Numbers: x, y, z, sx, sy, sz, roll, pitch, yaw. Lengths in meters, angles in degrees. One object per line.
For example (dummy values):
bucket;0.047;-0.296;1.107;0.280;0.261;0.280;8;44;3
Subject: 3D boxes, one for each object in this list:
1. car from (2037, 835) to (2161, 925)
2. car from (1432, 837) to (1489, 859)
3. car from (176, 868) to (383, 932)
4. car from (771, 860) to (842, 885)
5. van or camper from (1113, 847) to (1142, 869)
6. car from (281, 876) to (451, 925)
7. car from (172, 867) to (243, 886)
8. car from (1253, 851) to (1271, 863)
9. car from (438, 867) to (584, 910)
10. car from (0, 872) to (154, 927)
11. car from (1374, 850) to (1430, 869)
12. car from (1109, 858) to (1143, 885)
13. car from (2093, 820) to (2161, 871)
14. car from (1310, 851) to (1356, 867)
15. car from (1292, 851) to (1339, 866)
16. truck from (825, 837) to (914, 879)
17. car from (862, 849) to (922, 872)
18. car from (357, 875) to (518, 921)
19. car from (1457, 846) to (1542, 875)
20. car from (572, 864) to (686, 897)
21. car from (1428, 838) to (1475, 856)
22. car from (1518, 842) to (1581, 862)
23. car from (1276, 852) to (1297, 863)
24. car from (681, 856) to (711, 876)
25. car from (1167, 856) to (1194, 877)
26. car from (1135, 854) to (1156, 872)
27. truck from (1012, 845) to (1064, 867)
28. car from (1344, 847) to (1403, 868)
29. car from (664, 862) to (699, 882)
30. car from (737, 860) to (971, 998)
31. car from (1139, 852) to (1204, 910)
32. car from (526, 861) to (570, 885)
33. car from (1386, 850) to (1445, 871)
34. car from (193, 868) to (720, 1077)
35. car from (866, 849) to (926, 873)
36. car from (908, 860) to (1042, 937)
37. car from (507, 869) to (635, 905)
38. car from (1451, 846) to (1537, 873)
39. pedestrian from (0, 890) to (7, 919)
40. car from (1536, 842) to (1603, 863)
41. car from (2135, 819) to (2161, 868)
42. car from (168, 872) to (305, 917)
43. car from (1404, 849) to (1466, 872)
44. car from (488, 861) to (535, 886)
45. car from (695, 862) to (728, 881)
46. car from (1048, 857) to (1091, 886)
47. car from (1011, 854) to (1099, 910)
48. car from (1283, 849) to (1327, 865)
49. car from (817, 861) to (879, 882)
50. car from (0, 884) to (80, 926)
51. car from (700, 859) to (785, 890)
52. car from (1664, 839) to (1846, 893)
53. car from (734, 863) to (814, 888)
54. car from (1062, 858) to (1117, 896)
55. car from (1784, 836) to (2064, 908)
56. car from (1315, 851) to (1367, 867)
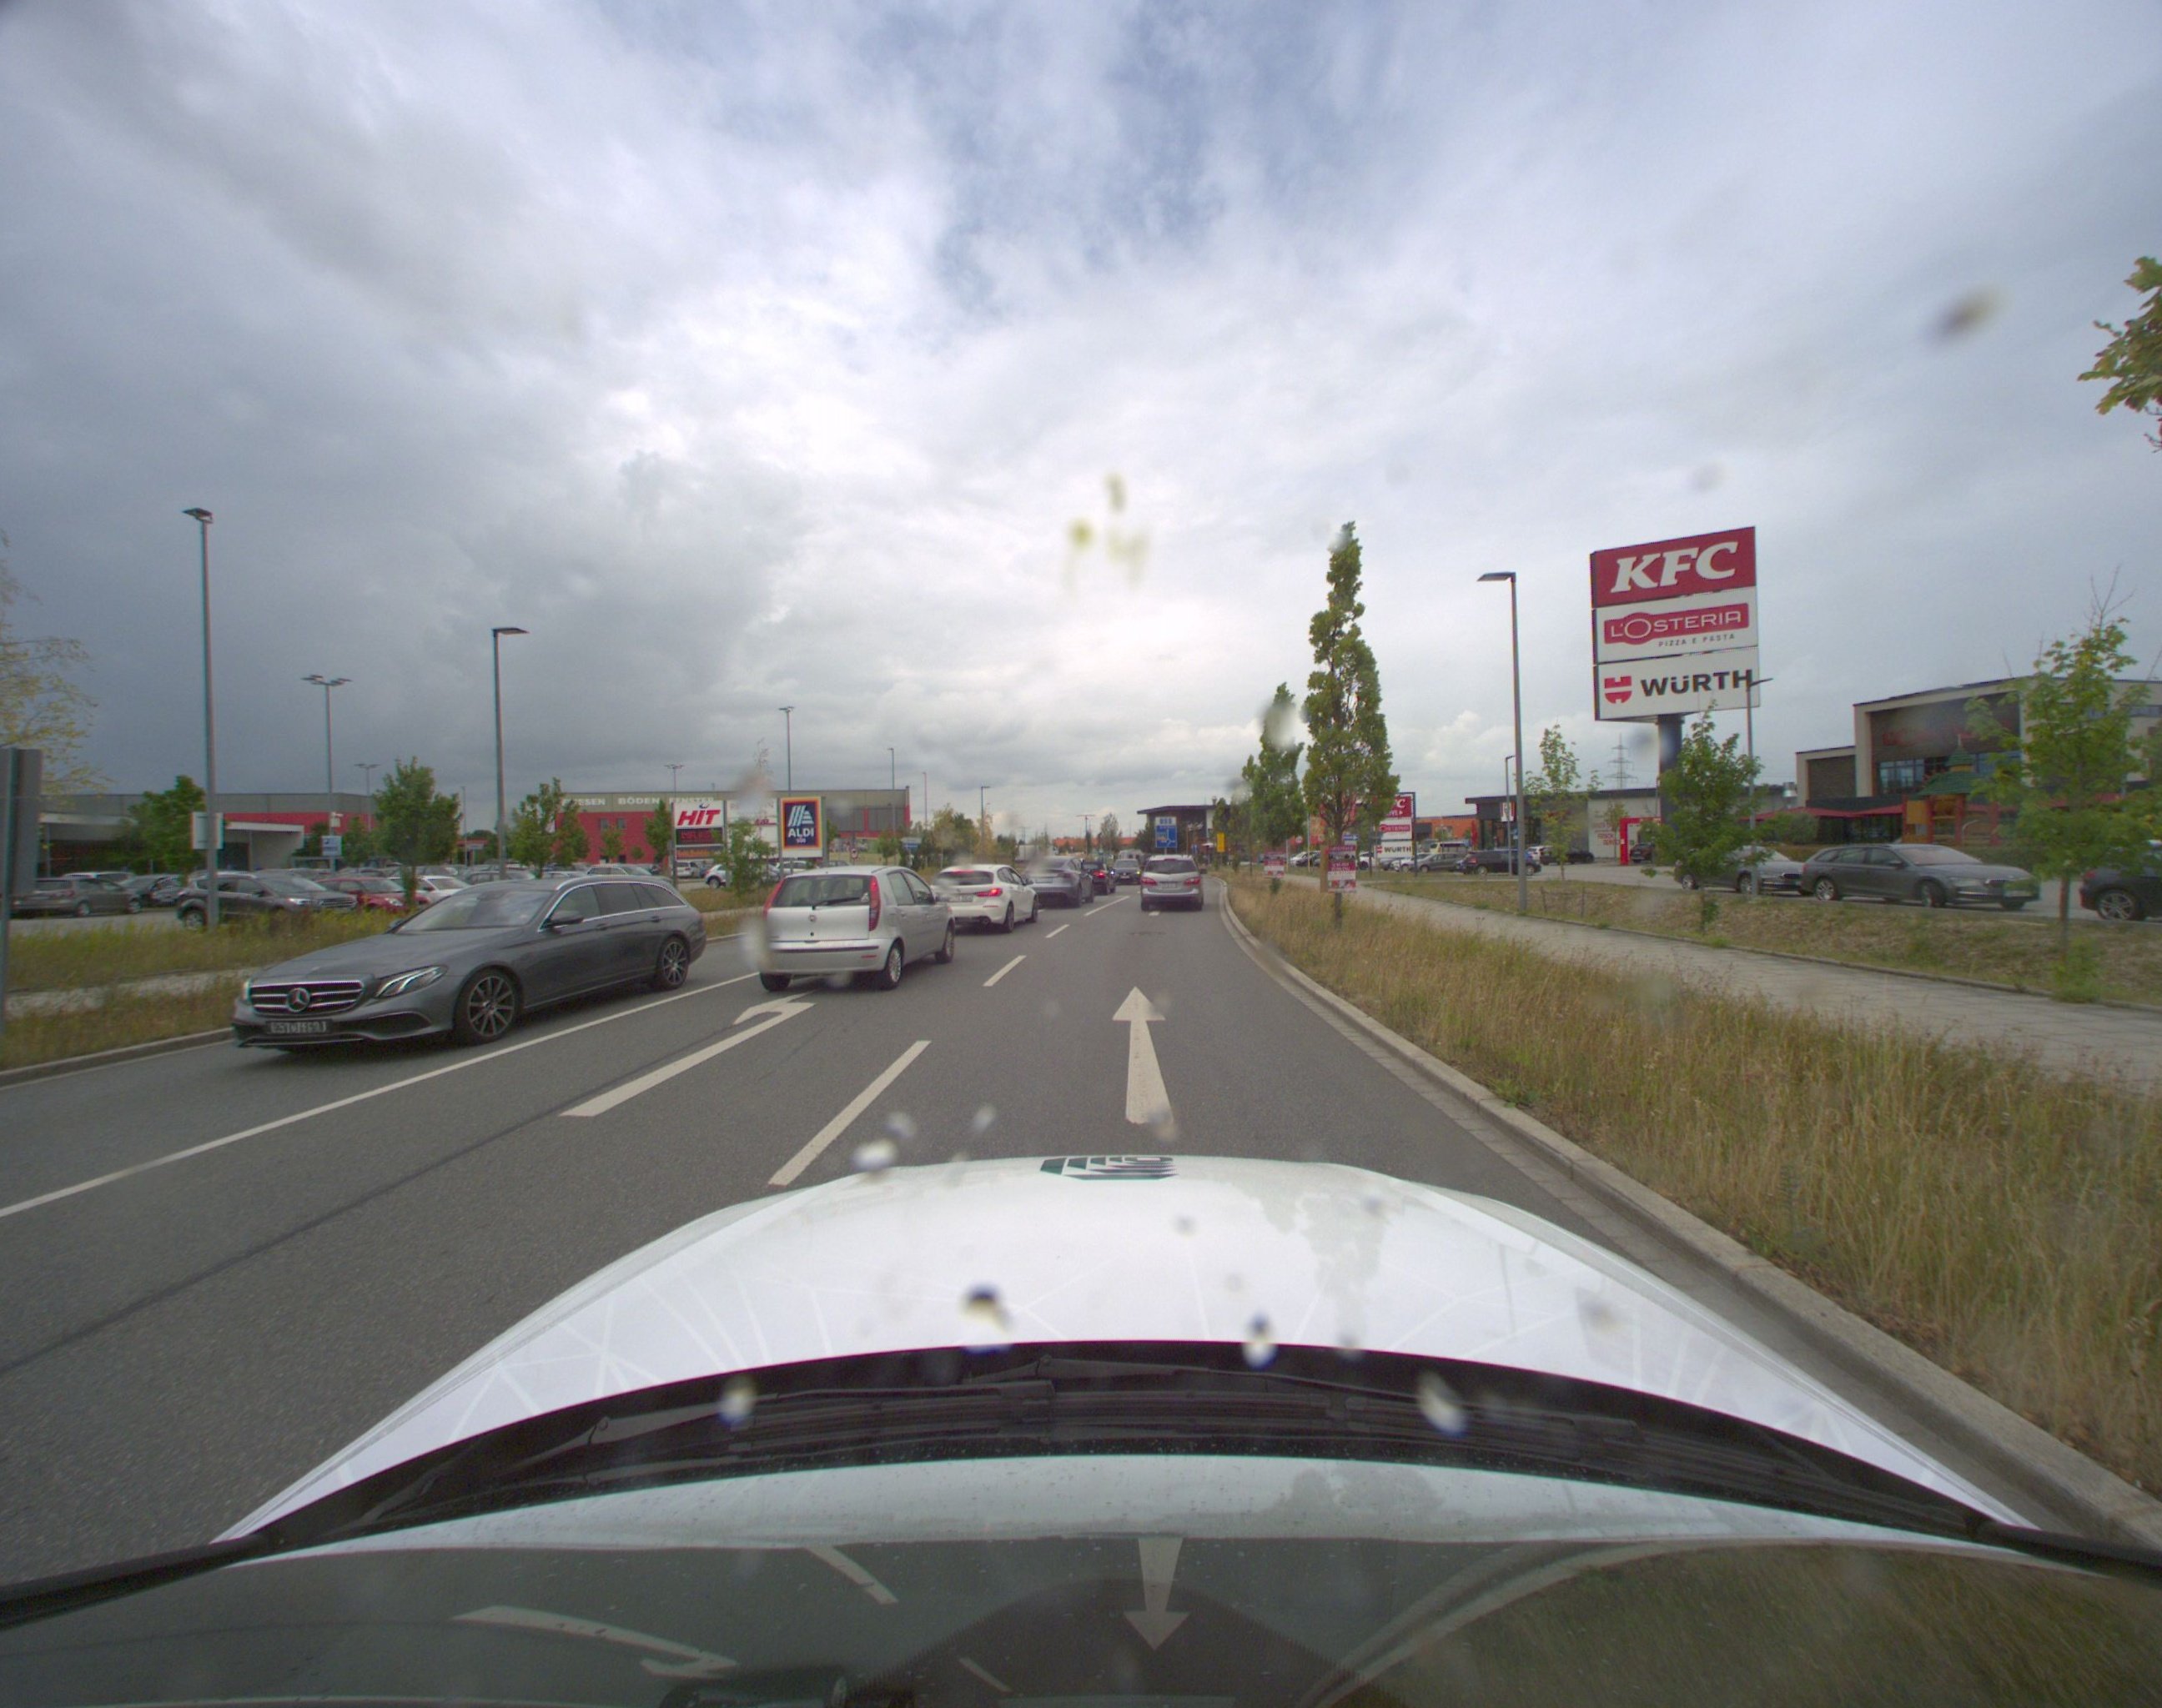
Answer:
car;18.977;0.400;13.047;1.985;1.496;4.611;-2;-1;3
car;44.953;-0.716;96.616;5.672;2.351;2.528;-2;0;-10
car;-23.707;1.339;24.195;4.279;1.655;2.084;-2;0;6
car;-19.088;1.257;56.831;4.235;1.559;1.988;-2;0;-2
van or camper;5.527;0.464;96.692;2.303;2.506;5.188;-1;0;-10
car;-23.404;1.496;26.735;4.060;1.391;2.005;-2;0;9
car;-79.481;2.049;74.139;3.982;1.607;1.996;-1;0;-7
car;27.907;0.417;125.456;1.976;1.717;4.022;-1;0;23
car;-22.671;1.356;32.514;4.340;1.505;2.245;-2;0;8
car;-39.910;1.747;32.540;1.838;1.922;4.419;-1;0;-19
car;27.130;0.478;68.969;3.972;1.485;1.941;-2;-1;1
car;2.601;0.936;46.120;1.821;1.420;4.251;-1;0;4
car;36.740;-0.312;26.263;2.001;1.697;4.758;-1;0;-21
car;25.951;0.500;83.997;4.083;1.438;1.937;-2;0;-9
car;25.575;0.471;88.932;4.469;1.436;2.066;-2;0;-11
truck;-18.841;0.301;73.201;2.823;3.541;8.479;-1;0;26
car;-20.157;0.665;87.161;6.073;2.307;2.201;-1;-1;-12
car;-22.969;1.555;29.186;4.296;1.456;2.014;-2;0;6
car;24.097;0.370;47.024;3.963;1.494;1.987;-2;0;9
car;-21.822;1.261;39.419;4.331;1.391;2.171;-2;0;9
car;55.201;-1.066;121.399;5.968;2.528;2.296;-2;0;35
car;40.761;-0.203;70.886;4.565;1.519;2.072;-3;0;-12
car;25.935;0.446;102.678;1.794;1.313;3.872;-2;0;25
car;-37.333;1.172;79.067;1.998;1.849;4.243;-1;0;-17
car;7.259;0.869;59.576;1.835;1.418;4.232;-2;0;6
car;6.798;0.950;86.371;2.050;1.826;4.789;-1;0;3
truck;-8.026;0.296;153.994;9.366;3.907;3.112;-2;0;-31
car;26.522;0.357;74.007;4.551;1.645;2.086;-3;0;-3
car;-35.729;1.580;72.973;1.997;1.729;3.980;-2;0;-14
car;-2.819;0.859;11.101;1.694;1.438;4.038;-2;0;5
car;2.765;0.752;24.321;1.719;1.600;3.816;0;0;9
car;-45.951;1.593;70.260;1.997;2.013;3.980;-1;0;-15
car;26.266;0.508;64.092;3.845;1.481;1.904;-3;0;3
car;-6.016;0.989;8.836;1.777;1.489;4.772;-2;0;3
car;-20.857;0.756;92.124;6.411;2.598;2.235;-1;-1;-11
car;-2.180;0.895;18.037;1.869;1.468;4.202;-2;-1;7
car;-22.126;1.410;35.425;4.293;1.340;2.030;-2;0;4
car;25.066;0.339;49.518;4.239;1.520;1.969;-2;0;7
pedestrian;-39.531;1.846;29.771;0.386;1.049;0.270;-1;-1;30
car;39.364;-0.123;65.656;4.568;1.519;1.968;-3;0;-14
car;39.256;-0.403;27.266;2.137;1.678;4.501;-1;0;-25
car;-34.731;1.606;33.655;1.995;1.607;3.983;-2;0;-13
car;25.725;0.462;59.299;3.740;1.494;1.892;-2;0;4
car;-48.587;1.659;69.574;1.997;2.013;3.980;-1;0;-15
car;-33.158;1.560;73.183;1.997;1.607;3.980;-2;0;-14
car;-0.683;1.076;51.764;1.982;1.637;4.713;-3;0;8
car;-0.728;0.835;26.339;1.982;1.561;4.624;-2;0;9
car;25.179;0.300;91.417;4.352;1.639;1.929;-2;0;-13
car;-18.393;1.362;64.401;4.216;1.435;1.999;-2;0;1
car;-42.560;2.032;32.101;1.835;1.508;3.980;-1;0;-14
car;-20.285;1.223;48.944;4.224;1.723;2.030;-1;0;3
car;20.366;0.321;24.937;1.951;1.460;4.841;-2;0;7
car;-19.407;1.340;51.540;4.218;1.513;2.051;-1;0;8
car;0.433;0.936;34.437;1.759;1.438;4.239;-2;-1;7
car;19.575;0.370;19.326;1.855;1.437;4.886;-2;0;5
car;25.868;0.482;81.018;4.514;1.469;2.027;-2;0;-8
